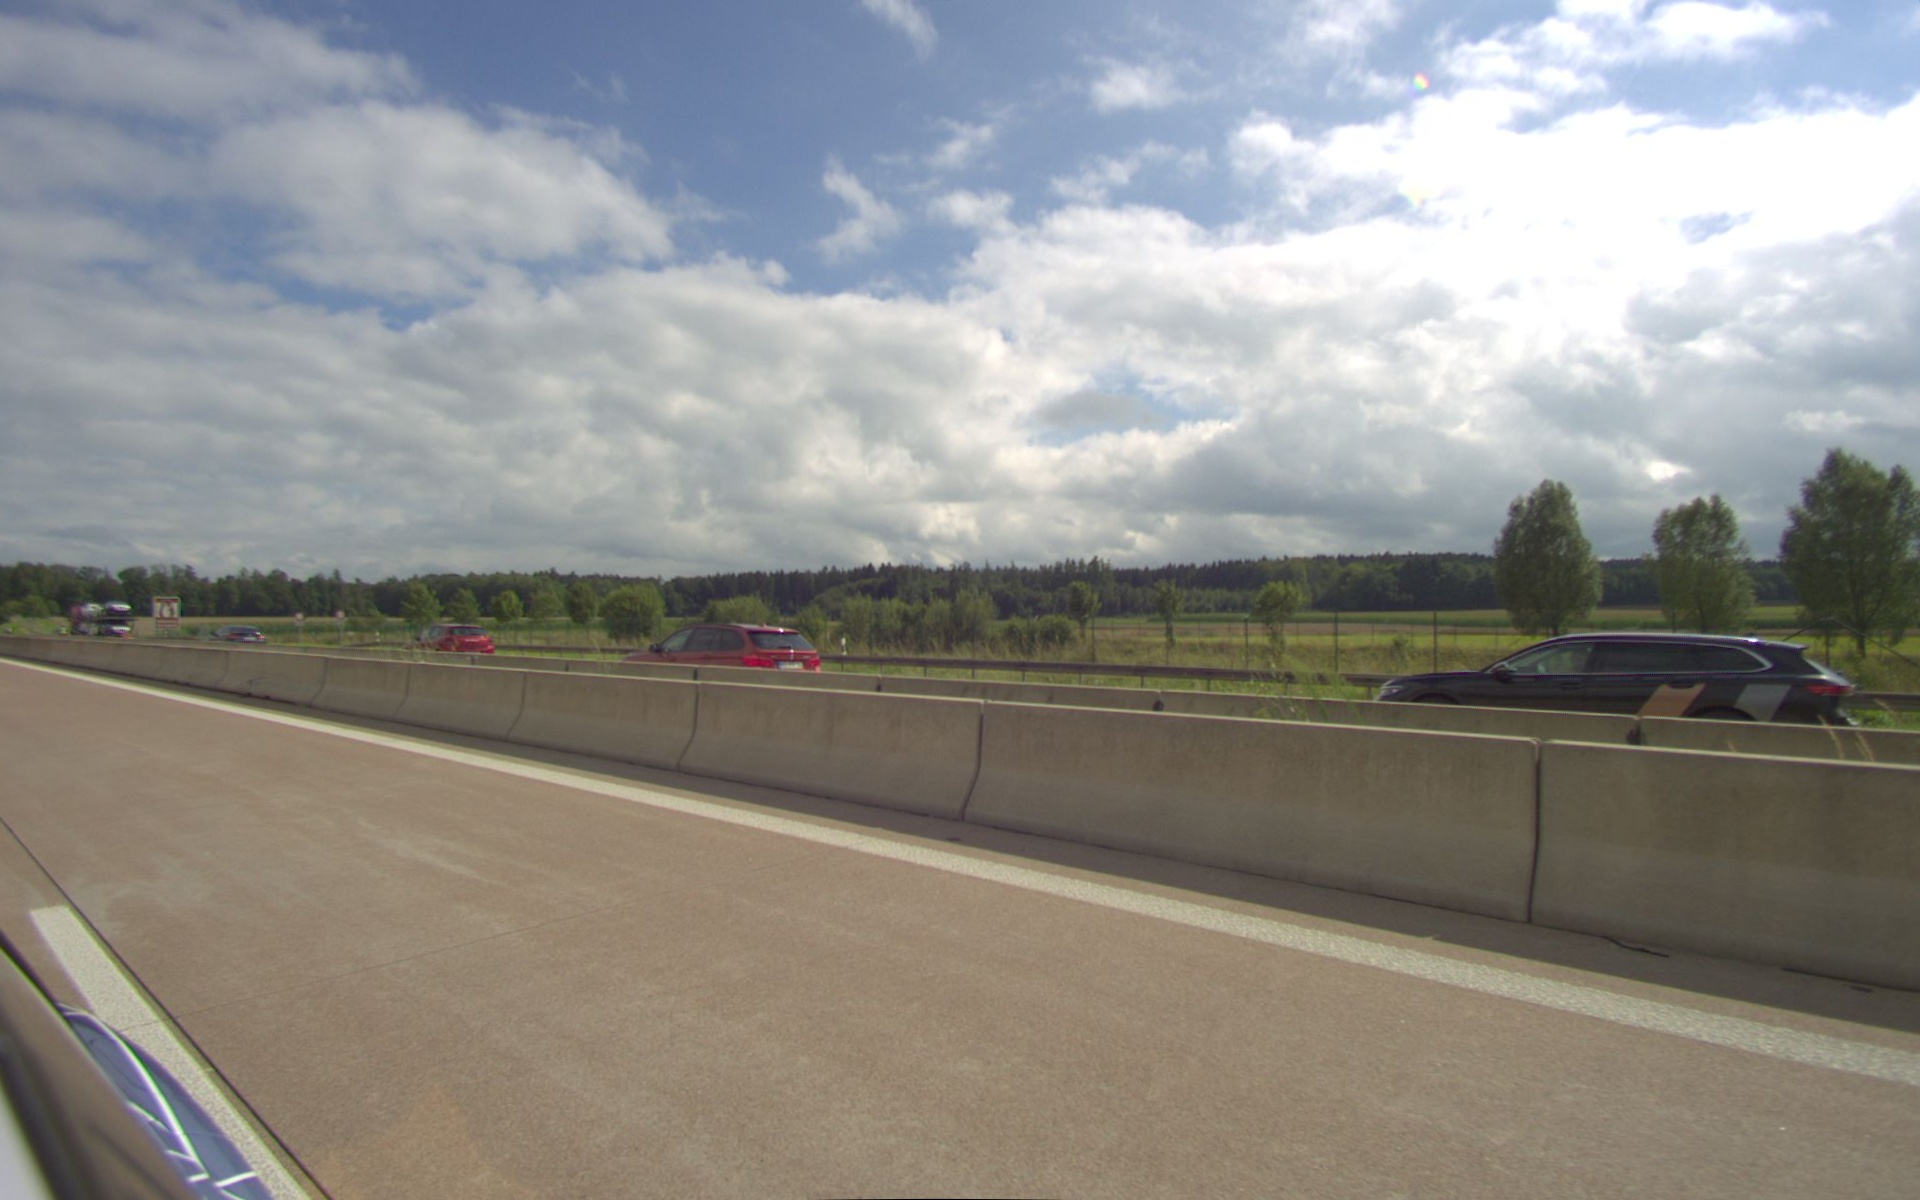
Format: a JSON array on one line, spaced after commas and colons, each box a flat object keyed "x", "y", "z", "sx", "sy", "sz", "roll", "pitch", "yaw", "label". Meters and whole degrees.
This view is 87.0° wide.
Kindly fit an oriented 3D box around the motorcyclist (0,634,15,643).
[{"x": -111.519, "y": 4.505, "z": 118.466, "sx": 0.839, "sy": 0.956, "sz": 1.173, "roll": -2, "pitch": 0, "yaw": 41, "label": "motorcyclist"}]

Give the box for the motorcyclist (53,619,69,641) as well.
[{"x": -79.397, "y": 2.618, "z": 89.356, "sx": 0.743, "sy": 1.875, "sz": 0.998, "roll": -1, "pitch": 0, "yaw": 42, "label": "motorcyclist"}]

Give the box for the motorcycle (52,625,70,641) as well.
[{"x": -79.305, "y": 2.908, "z": 89.284, "sx": 2.342, "sy": 1.313, "sz": 0.917, "roll": -2, "pitch": 0, "yaw": 42, "label": "motorcycle"}]

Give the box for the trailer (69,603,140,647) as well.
[{"x": -83.540, "y": 2.430, "z": 98.644, "sx": 16.322, "sy": 4.008, "sz": 3.160, "roll": -2, "pitch": 0, "yaw": 42, "label": "trailer"}]

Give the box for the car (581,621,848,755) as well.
[{"x": -4.515, "y": 1.415, "z": 18.063, "sx": 5.215, "sy": 1.997, "sz": 1.973, "roll": -1, "pitch": 0, "yaw": 41, "label": "car"}]

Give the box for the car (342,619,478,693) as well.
[{"x": -9.690, "y": 0.947, "z": 17.780, "sx": 2.756, "sy": 1.160, "sz": 1.210, "roll": -2, "pitch": 0, "yaw": 41, "label": "car"}]

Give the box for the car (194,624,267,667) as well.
[{"x": -37.635, "y": 2.281, "z": 52.186, "sx": 5.049, "sy": 2.029, "sz": 1.965, "roll": -1, "pitch": 0, "yaw": 41, "label": "car"}]

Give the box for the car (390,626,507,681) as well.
[{"x": -17.392, "y": 1.763, "z": 34.324, "sx": 4.488, "sy": 1.675, "sz": 1.952, "roll": -1, "pitch": 0, "yaw": 41, "label": "car"}]

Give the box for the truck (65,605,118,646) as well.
[{"x": -89.107, "y": 2.576, "z": 103.736, "sx": 7.728, "sy": 4.008, "sz": 3.160, "roll": -2, "pitch": 0, "yaw": 42, "label": "truck"}]

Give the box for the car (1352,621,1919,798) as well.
[{"x": 7.611, "y": 1.087, "z": 11.905, "sx": 5.215, "sy": 1.587, "sz": 1.973, "roll": -2, "pitch": 0, "yaw": 41, "label": "car"}]

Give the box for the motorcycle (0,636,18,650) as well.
[{"x": -111.614, "y": 5.065, "z": 118.635, "sx": 2.840, "sy": 1.554, "sz": 1.537, "roll": -2, "pitch": 0, "yaw": 42, "label": "motorcycle"}]

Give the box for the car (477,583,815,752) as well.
[{"x": -3.935, "y": 0.706, "z": 12.277, "sx": 4.431, "sy": 1.675, "sz": 1.864, "roll": -2, "pitch": 0, "yaw": 41, "label": "car"}]

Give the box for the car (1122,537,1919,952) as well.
[{"x": 3.233, "y": 0.603, "z": 5.939, "sx": 4.080, "sy": 1.675, "sz": 1.952, "roll": -2, "pitch": 0, "yaw": 41, "label": "car"}]
